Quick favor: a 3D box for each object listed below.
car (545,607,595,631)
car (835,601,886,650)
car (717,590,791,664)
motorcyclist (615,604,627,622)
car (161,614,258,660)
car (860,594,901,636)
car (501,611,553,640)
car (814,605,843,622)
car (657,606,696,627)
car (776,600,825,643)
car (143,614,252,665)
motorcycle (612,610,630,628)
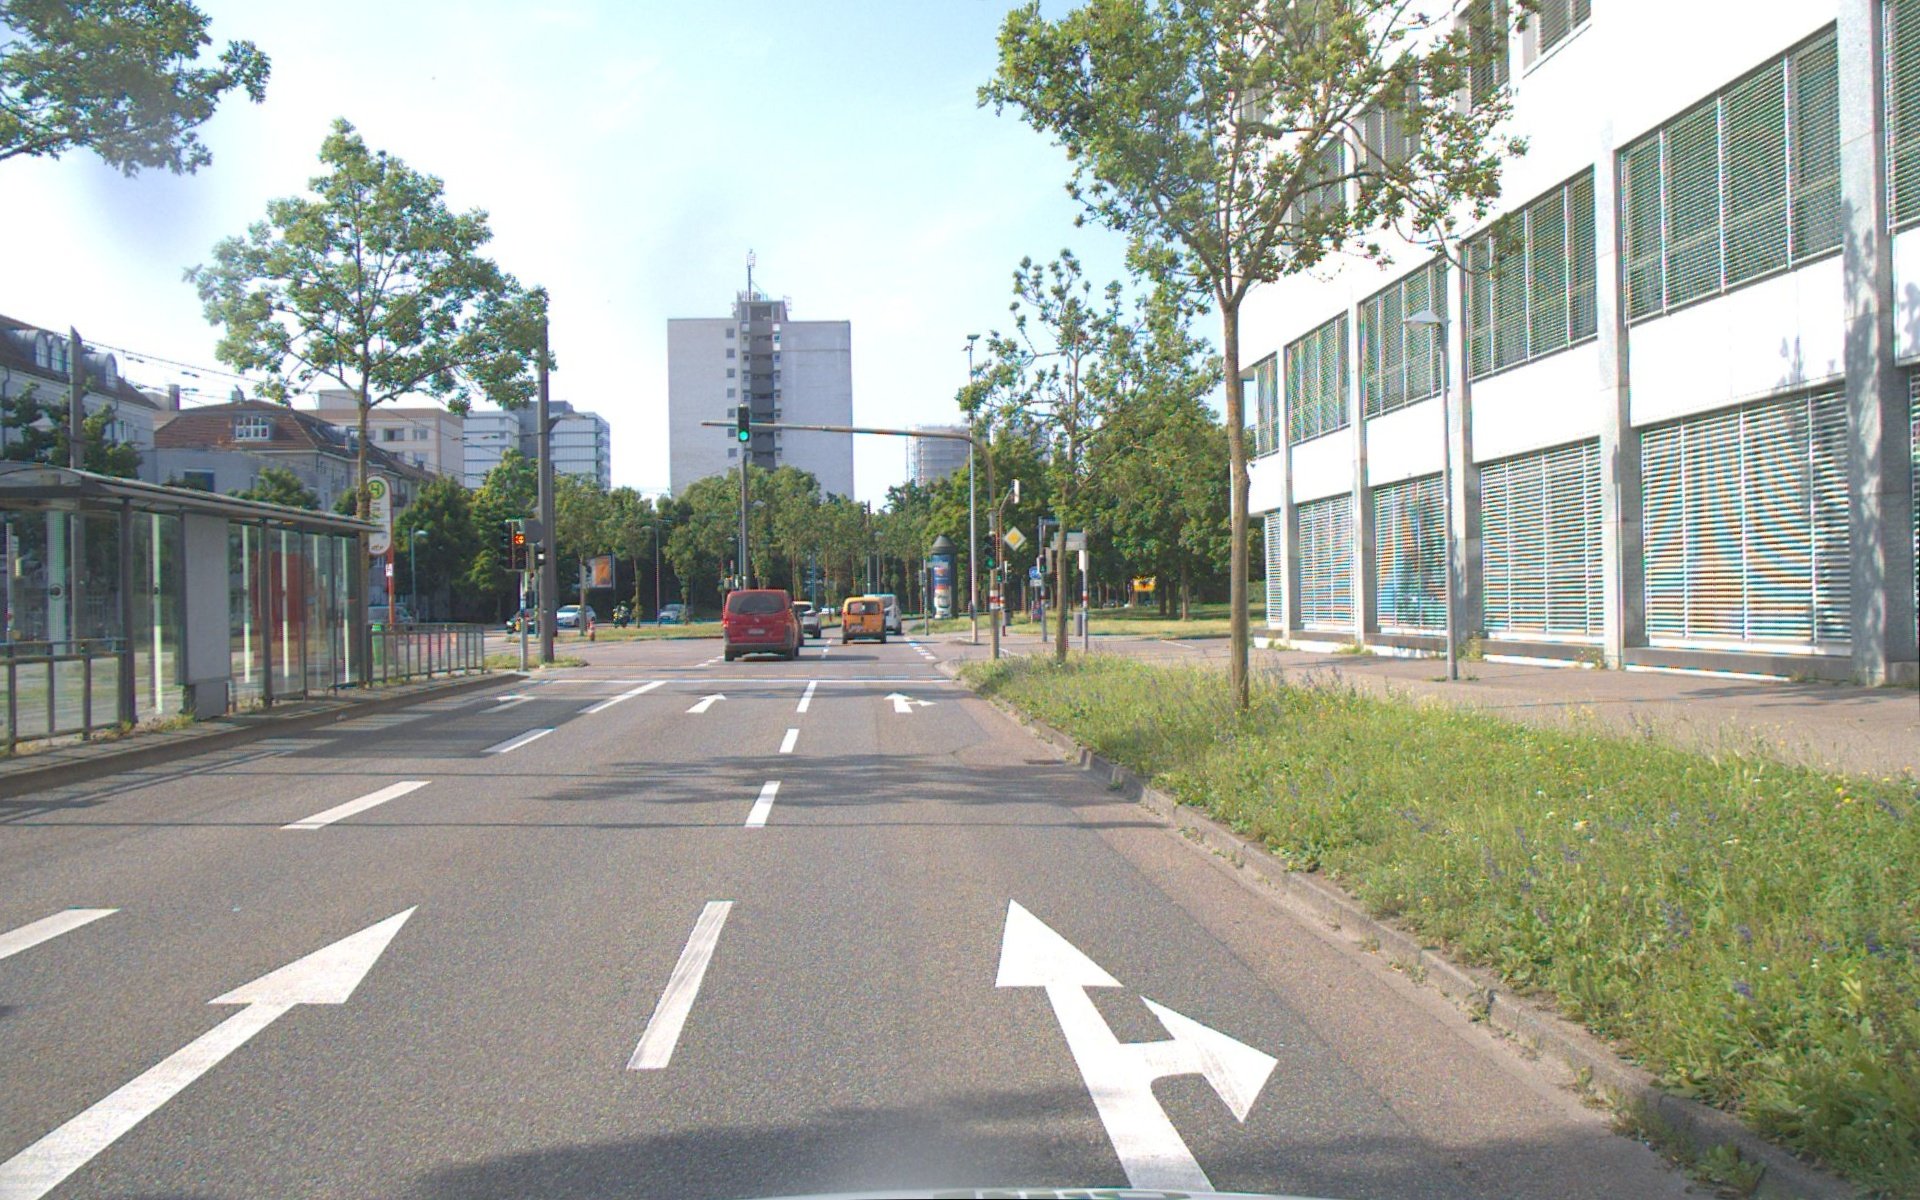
[{"bbox_3d":[-26.751,1.275,113.594,1.835,1.601,4.225,-1,0,9],"label":"car"},{"bbox_3d":[-3.732,0.940,62.320,1.838,1.726,3.970,-1,0,-3],"label":"car"},{"bbox_3d":[-5.578,0.719,45.185,1.838,1.886,3.995,-1,0,-5],"label":"car"},{"bbox_3d":[-22.715,0.850,110.926,0.606,1.187,0.551,-1,-1,9],"label":"motorcyclist"},{"bbox_3d":[-28.088,1.355,61.997,1.837,1.601,3.999,-1,0,-1],"label":"car"},{"bbox_3d":[-4.042,0.770,83.344,1.954,2.049,3.996,0,-1,-4],"label":"car"},{"bbox_3d":[-24.452,1.450,93.467,1.837,1.601,4.000,0,-1,0],"label":"car"},{"bbox_3d":[-12.655,1.274,159.481,1.835,1.601,4.003,-1,0,10],"label":"car"},{"bbox_3d":[-22.243,1.287,129.933,1.835,1.601,4.003,-1,0,8],"label":"car"},{"bbox_3d":[-6.916,0.910,71.915,1.954,1.735,3.997,-2,0,-4],"label":"car"},{"bbox_3d":[-25.656,1.301,55.776,1.837,1.601,3.999,-1,0,-1],"label":"car"},{"bbox_3d":[-22.717,1.269,110.883,0.624,1.187,1.645,-1,0,9],"label":"motorcycle"}]
